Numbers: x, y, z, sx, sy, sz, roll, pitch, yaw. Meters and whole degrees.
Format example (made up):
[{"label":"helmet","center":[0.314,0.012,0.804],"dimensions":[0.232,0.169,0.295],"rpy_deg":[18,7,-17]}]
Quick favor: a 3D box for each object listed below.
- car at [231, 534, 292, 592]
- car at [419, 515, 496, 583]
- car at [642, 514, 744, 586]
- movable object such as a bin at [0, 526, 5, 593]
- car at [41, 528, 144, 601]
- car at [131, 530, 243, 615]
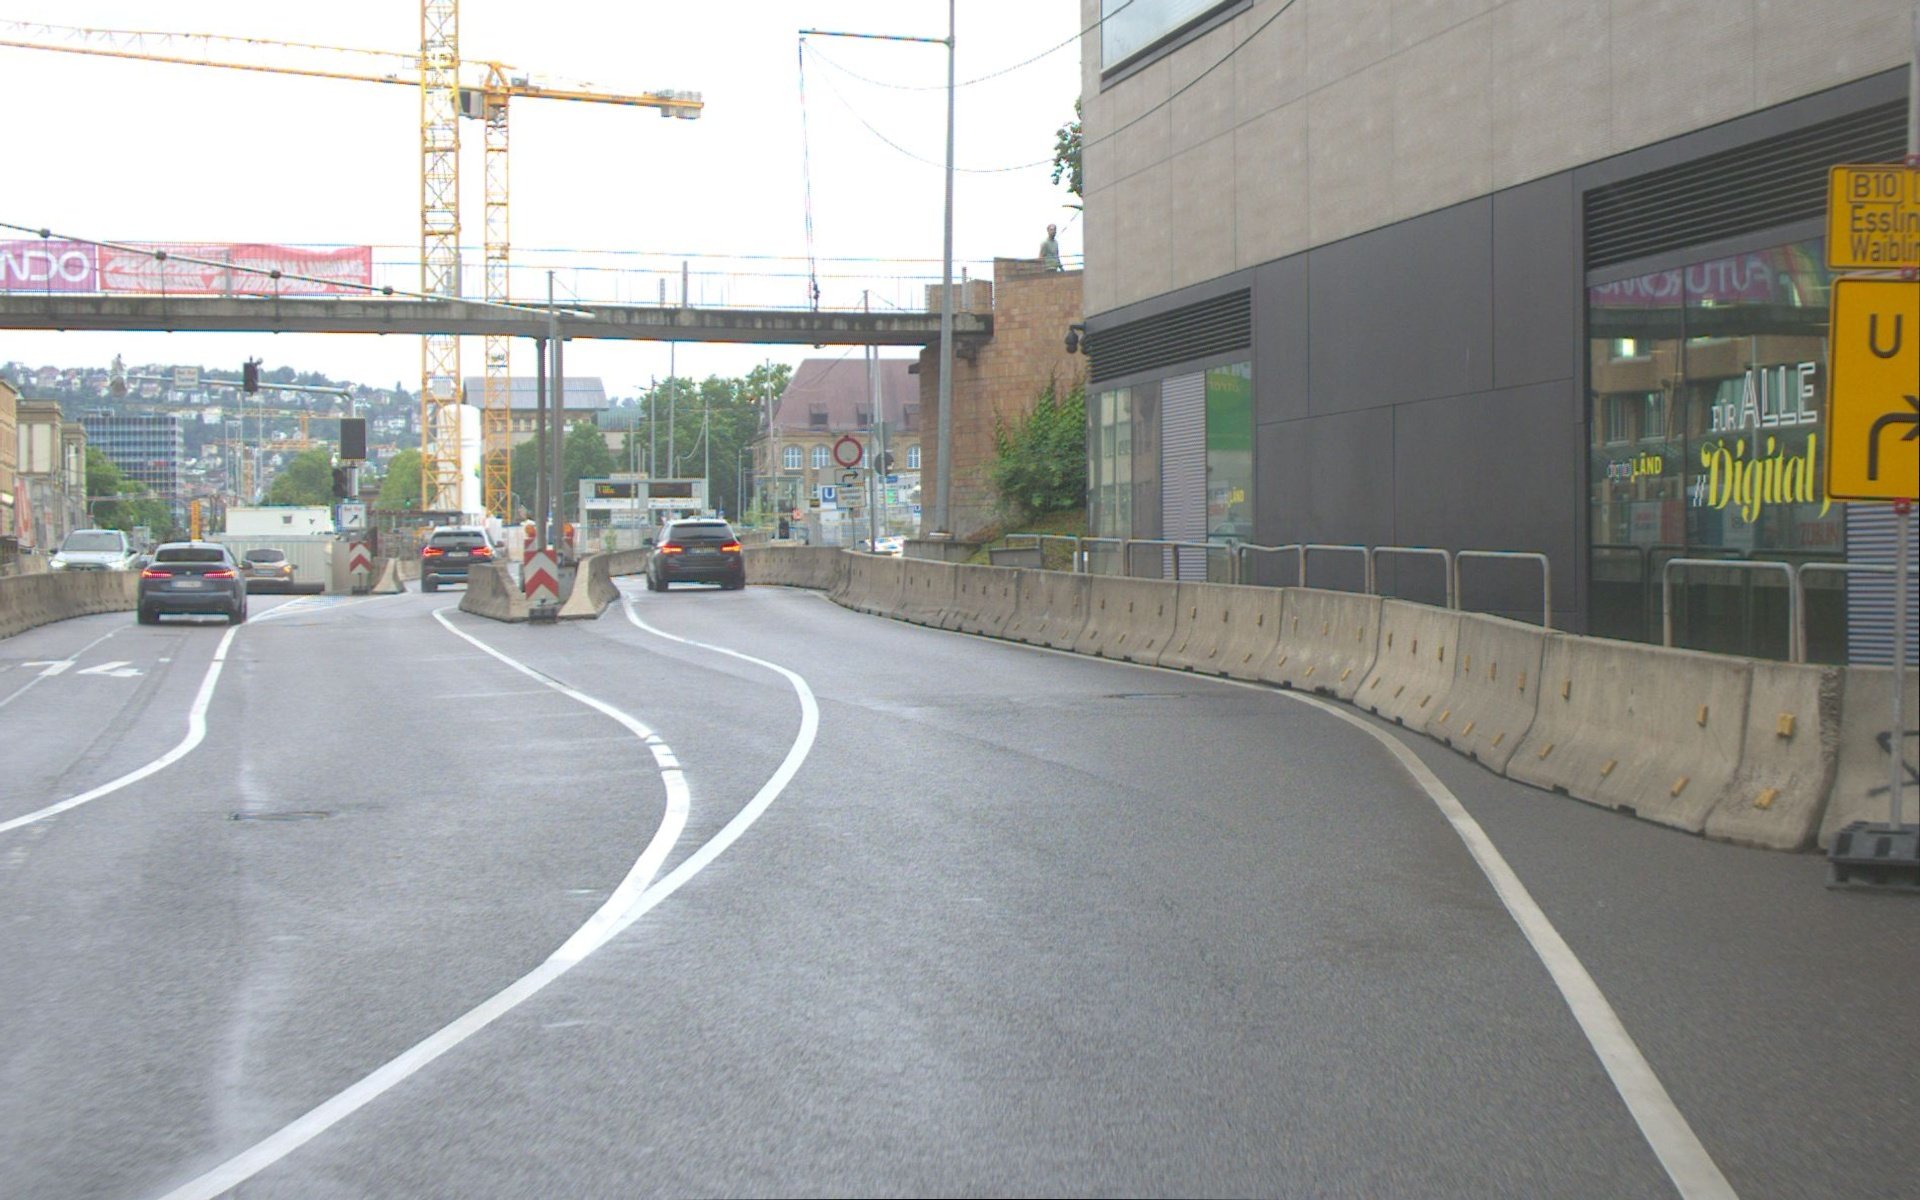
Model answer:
[{"label":"car","center":[-22.090,-1.197,108.675],"dimensions":[1.862,1.759,4.658],"rpy_deg":[0,1,-12]},{"label":"car","center":[-12.723,-1.312,86.963],"dimensions":[1.862,1.655,4.657],"rpy_deg":[0,1,-9]},{"label":"car","center":[-5.505,-1.040,70.417],"dimensions":[1.862,1.428,4.657],"rpy_deg":[0,1,-7]},{"label":"movable object such as a bin","center":[-26.766,-1.251,91.972],"dimensions":[2.026,2.269,4.294],"rpy_deg":[-4,2,-13]},{"label":"car","center":[-21.002,-0.889,83.360],"dimensions":[1.993,1.617,4.704],"rpy_deg":[-1,2,-9]},{"label":"car","center":[-13.787,-0.515,61.224],"dimensions":[1.862,1.438,4.658],"rpy_deg":[0,1,-13]}]
